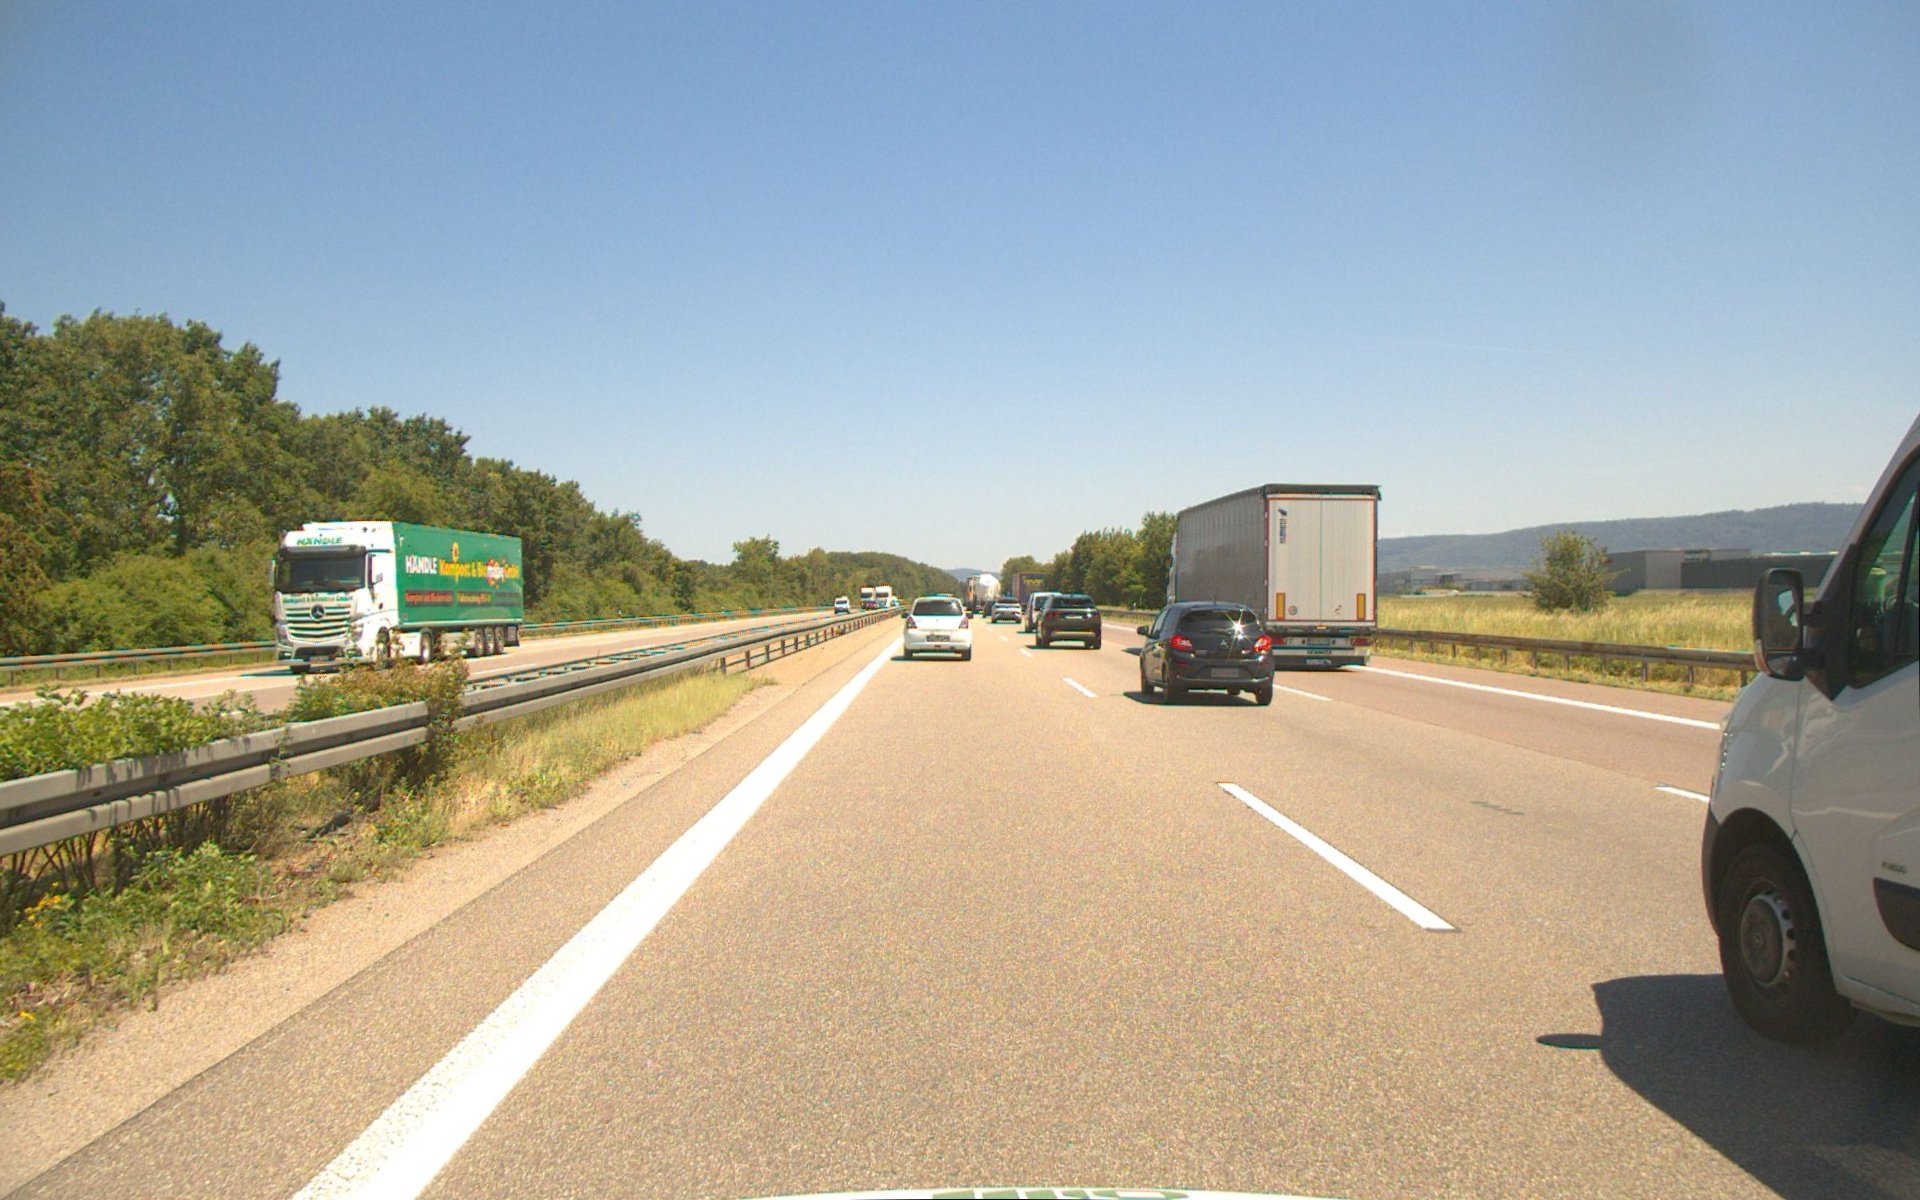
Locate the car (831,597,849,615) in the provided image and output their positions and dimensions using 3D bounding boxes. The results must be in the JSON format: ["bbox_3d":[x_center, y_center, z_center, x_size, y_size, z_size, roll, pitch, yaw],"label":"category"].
[{"bbox_3d":[-14.419,0.778,199.321,1.752,2.049,4.380,-3,0,0],"label":"car"}]

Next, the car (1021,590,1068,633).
[{"bbox_3d":[3.875,0.519,76.355,1.815,1.895,4.701,1,0,-1],"label":"car"}]

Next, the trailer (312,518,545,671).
[{"bbox_3d":[-16.570,-0.132,53.040,2.818,4.114,13.680,-3,0,0],"label":"trailer"}]

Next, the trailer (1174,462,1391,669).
[{"bbox_3d":[7.822,-0.715,42.477,2.752,4.380,14.253,1,0,0],"label":"trailer"}]

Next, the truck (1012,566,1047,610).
[{"bbox_3d":[7.071,-1.111,169.278,3.045,4.211,15.511,1,0,1],"label":"truck"}]

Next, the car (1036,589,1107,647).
[{"bbox_3d":[3.469,0.554,52.236,1.829,1.704,4.745,1,0,-1],"label":"car"}]

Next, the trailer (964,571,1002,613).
[{"bbox_3d":[2.270,-0.758,167.873,2.854,4.140,12.409,1,0,-3],"label":"trailer"}]

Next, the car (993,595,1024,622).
[{"bbox_3d":[3.044,0.528,104.849,1.765,1.631,4.380,1,0,0],"label":"car"}]

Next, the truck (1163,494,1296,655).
[{"bbox_3d":[7.832,-0.688,48.906,2.752,4.380,7.193,1,0,0],"label":"truck"}]

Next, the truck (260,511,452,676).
[{"bbox_3d":[-16.608,-0.158,45.992,2.818,4.114,6.332,-3,0,0],"label":"truck"}]

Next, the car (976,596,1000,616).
[{"bbox_3d":[2.190,0.447,132.111,1.812,1.549,3.957,1,0,0],"label":"car"}]

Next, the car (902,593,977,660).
[{"bbox_3d":[-0.508,0.643,41.276,1.762,1.579,3.609,1,0,-1],"label":"car"}]

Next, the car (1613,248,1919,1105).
[{"bbox_3d":[3.927,0.233,4.184,2.109,2.552,5.945,1,0,-1],"label":"car"}]

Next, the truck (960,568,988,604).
[{"bbox_3d":[1.800,-1.659,207.939,3.324,4.287,12.083,1,0,1],"label":"truck"}]

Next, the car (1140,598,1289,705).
[{"bbox_3d":[3.825,0.746,25.340,1.653,1.499,3.431,1,0,-2],"label":"car"}]
